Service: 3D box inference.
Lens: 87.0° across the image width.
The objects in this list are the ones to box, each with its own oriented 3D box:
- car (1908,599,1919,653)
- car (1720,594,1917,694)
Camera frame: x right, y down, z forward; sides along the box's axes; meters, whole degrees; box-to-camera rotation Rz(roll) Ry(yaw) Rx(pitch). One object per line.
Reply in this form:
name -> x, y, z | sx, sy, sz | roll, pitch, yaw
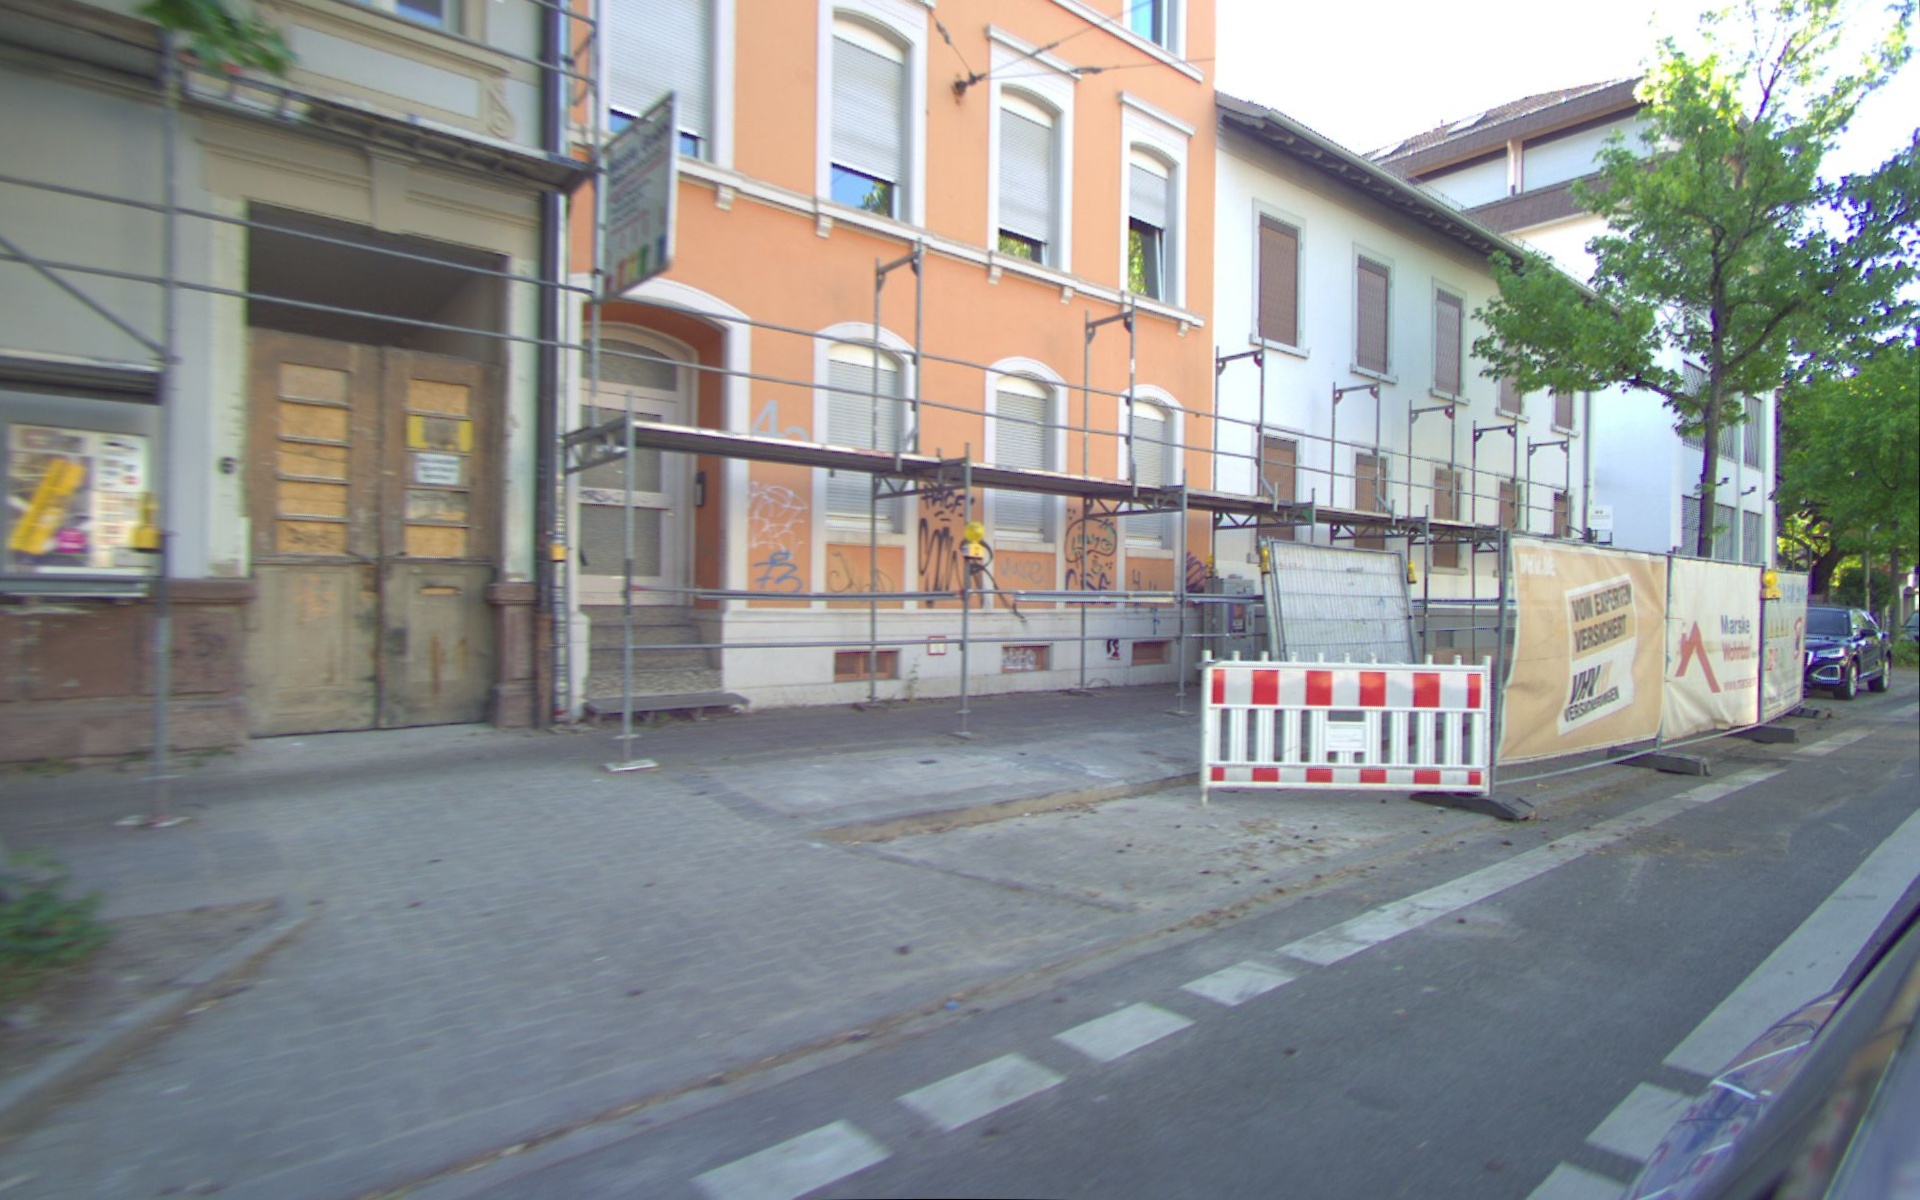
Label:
car -> 28.038, 0.738, 28.421 | 3.734, 1.465, 1.655 | 0, 2, -41
car -> 15.036, 0.692, 17.672 | 4.033, 1.502, 1.769 | 0, 2, -37
